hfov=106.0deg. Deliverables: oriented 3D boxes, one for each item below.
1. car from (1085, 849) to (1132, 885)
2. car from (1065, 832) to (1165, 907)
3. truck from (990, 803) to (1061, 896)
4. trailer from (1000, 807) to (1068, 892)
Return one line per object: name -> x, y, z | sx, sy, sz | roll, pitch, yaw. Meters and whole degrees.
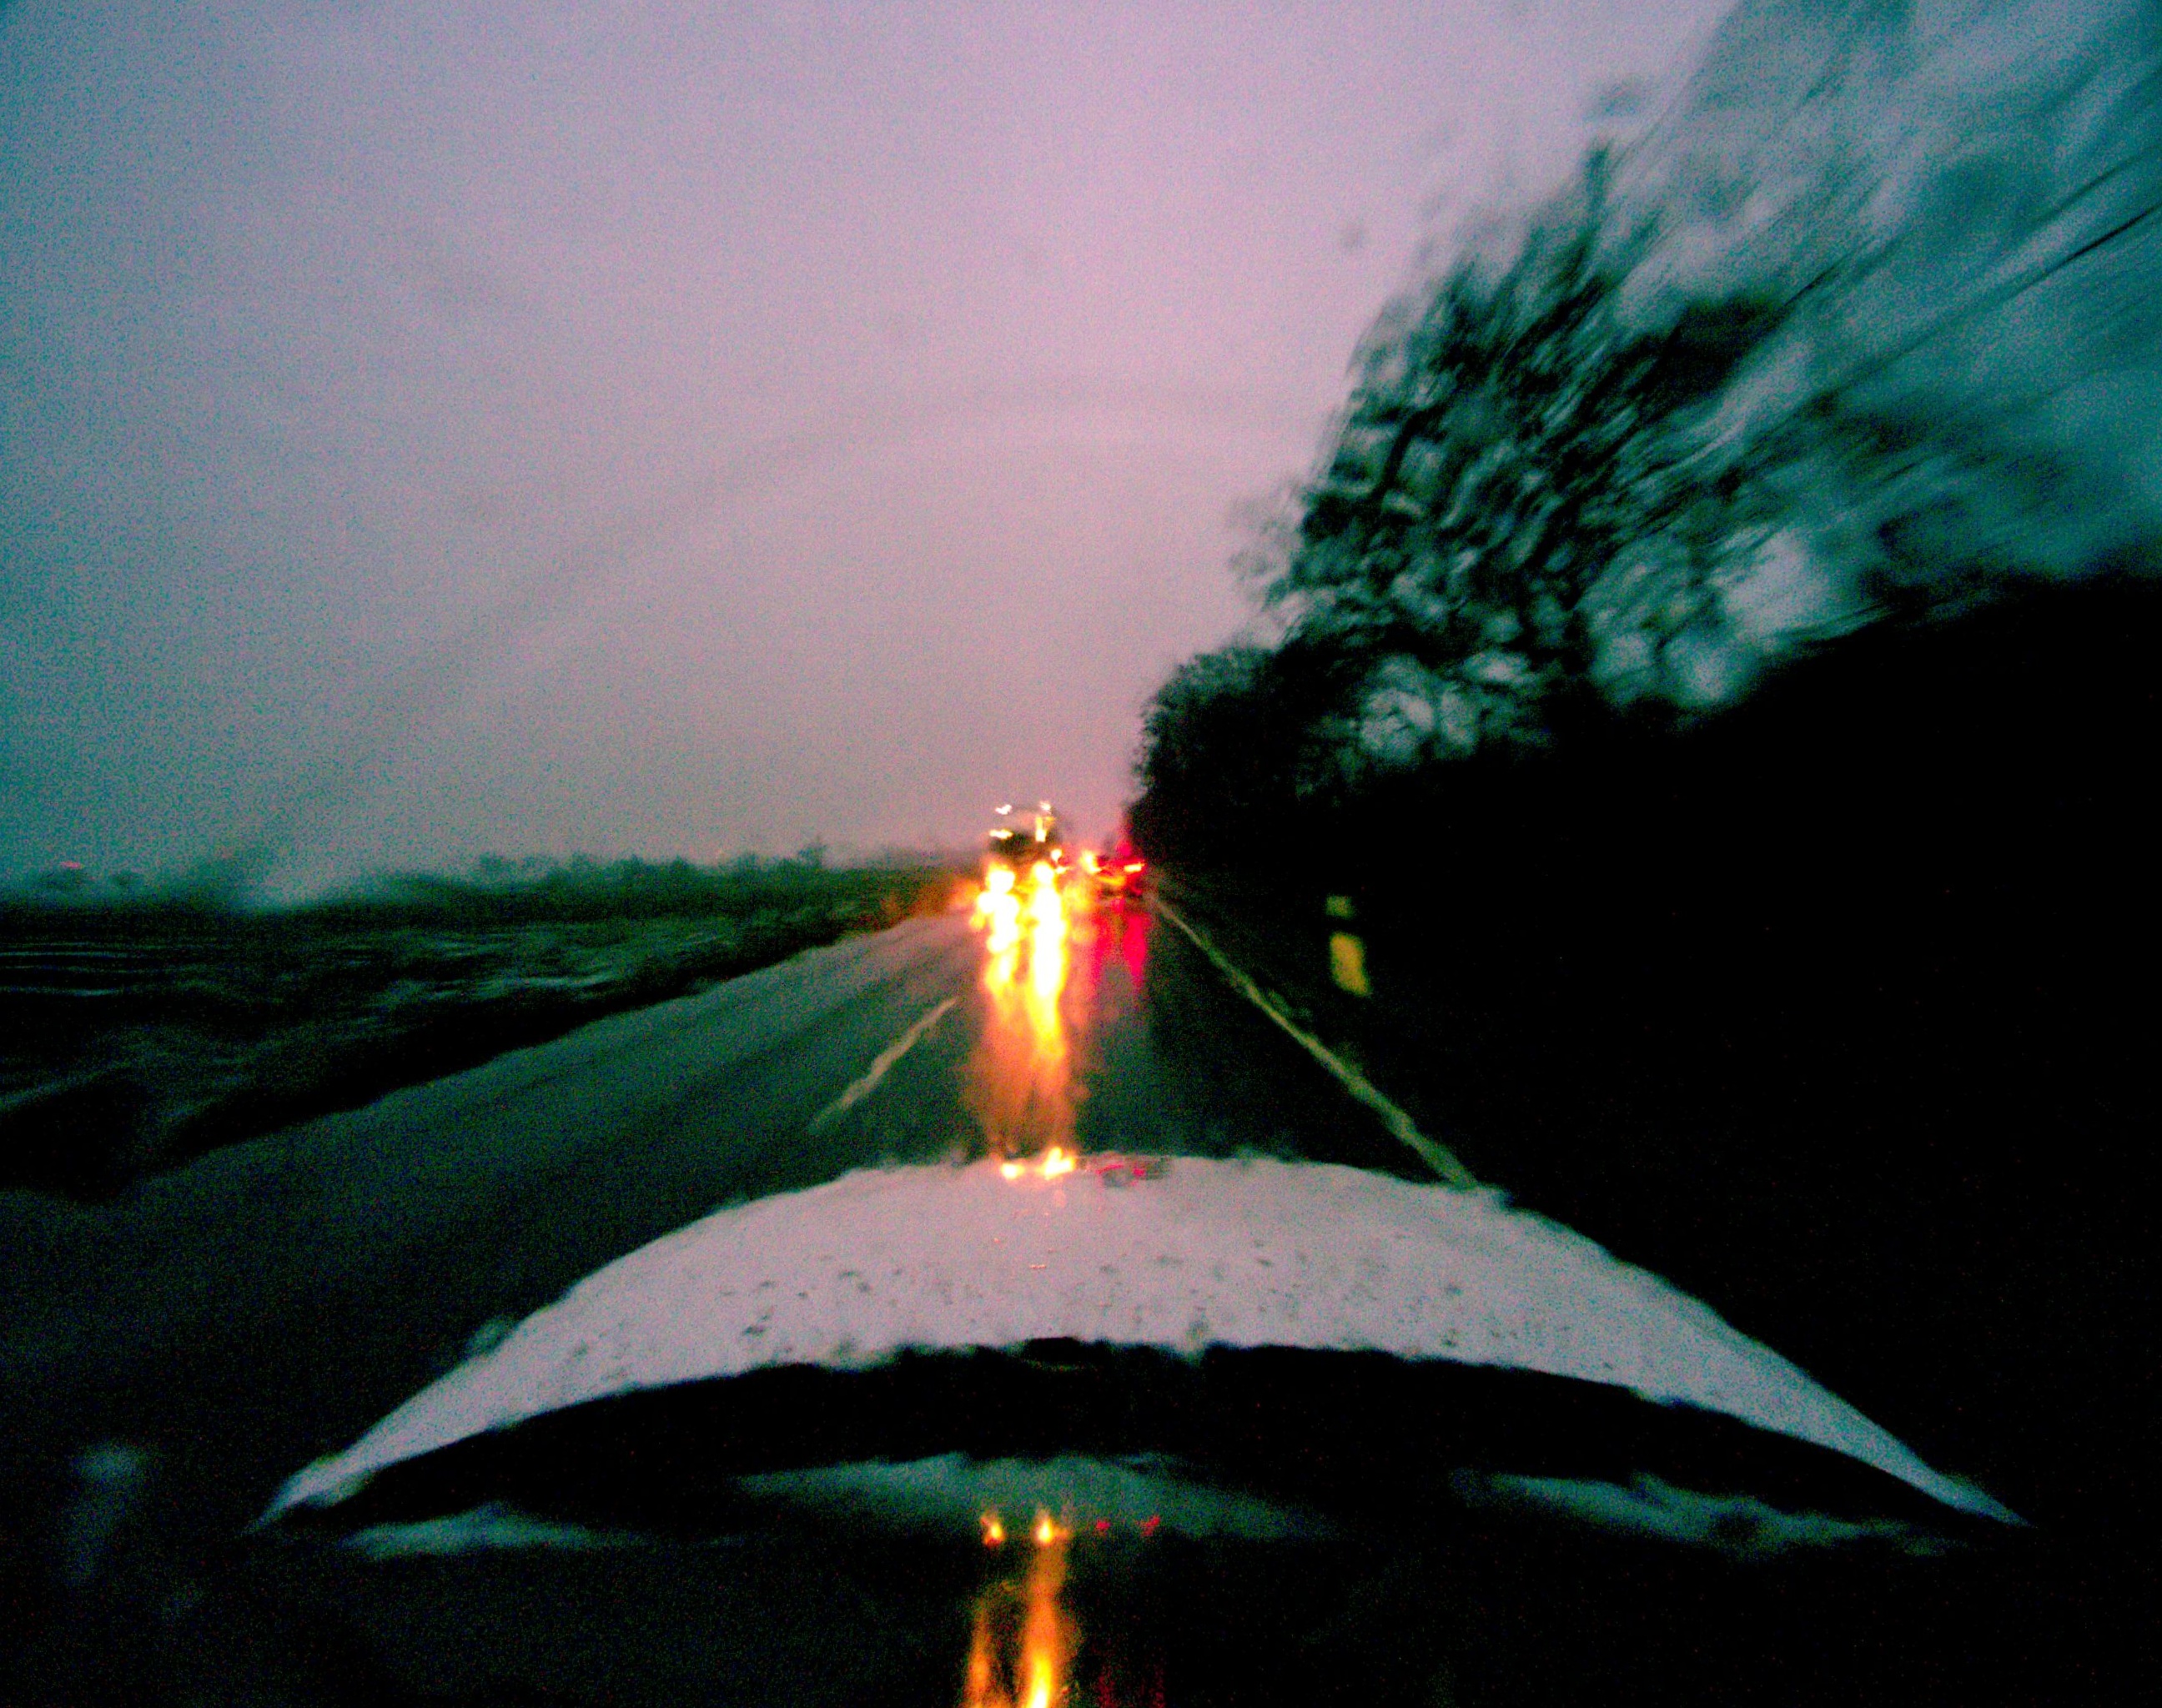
car -> 1.622, 0.736, 48.106 | 2.582, 2.014, 5.807 | -1, 0, 2
car -> 1.079, 0.447, 25.965 | 2.809, 2.077, 5.807 | -1, 0, 2
truck -> -2.581, -0.214, 39.995 | 2.715, 4.105, 6.590 | -3, 0, 1
trailer -> -2.422, -0.247, 46.282 | 2.692, 4.080, 12.384 | -3, 0, 1
